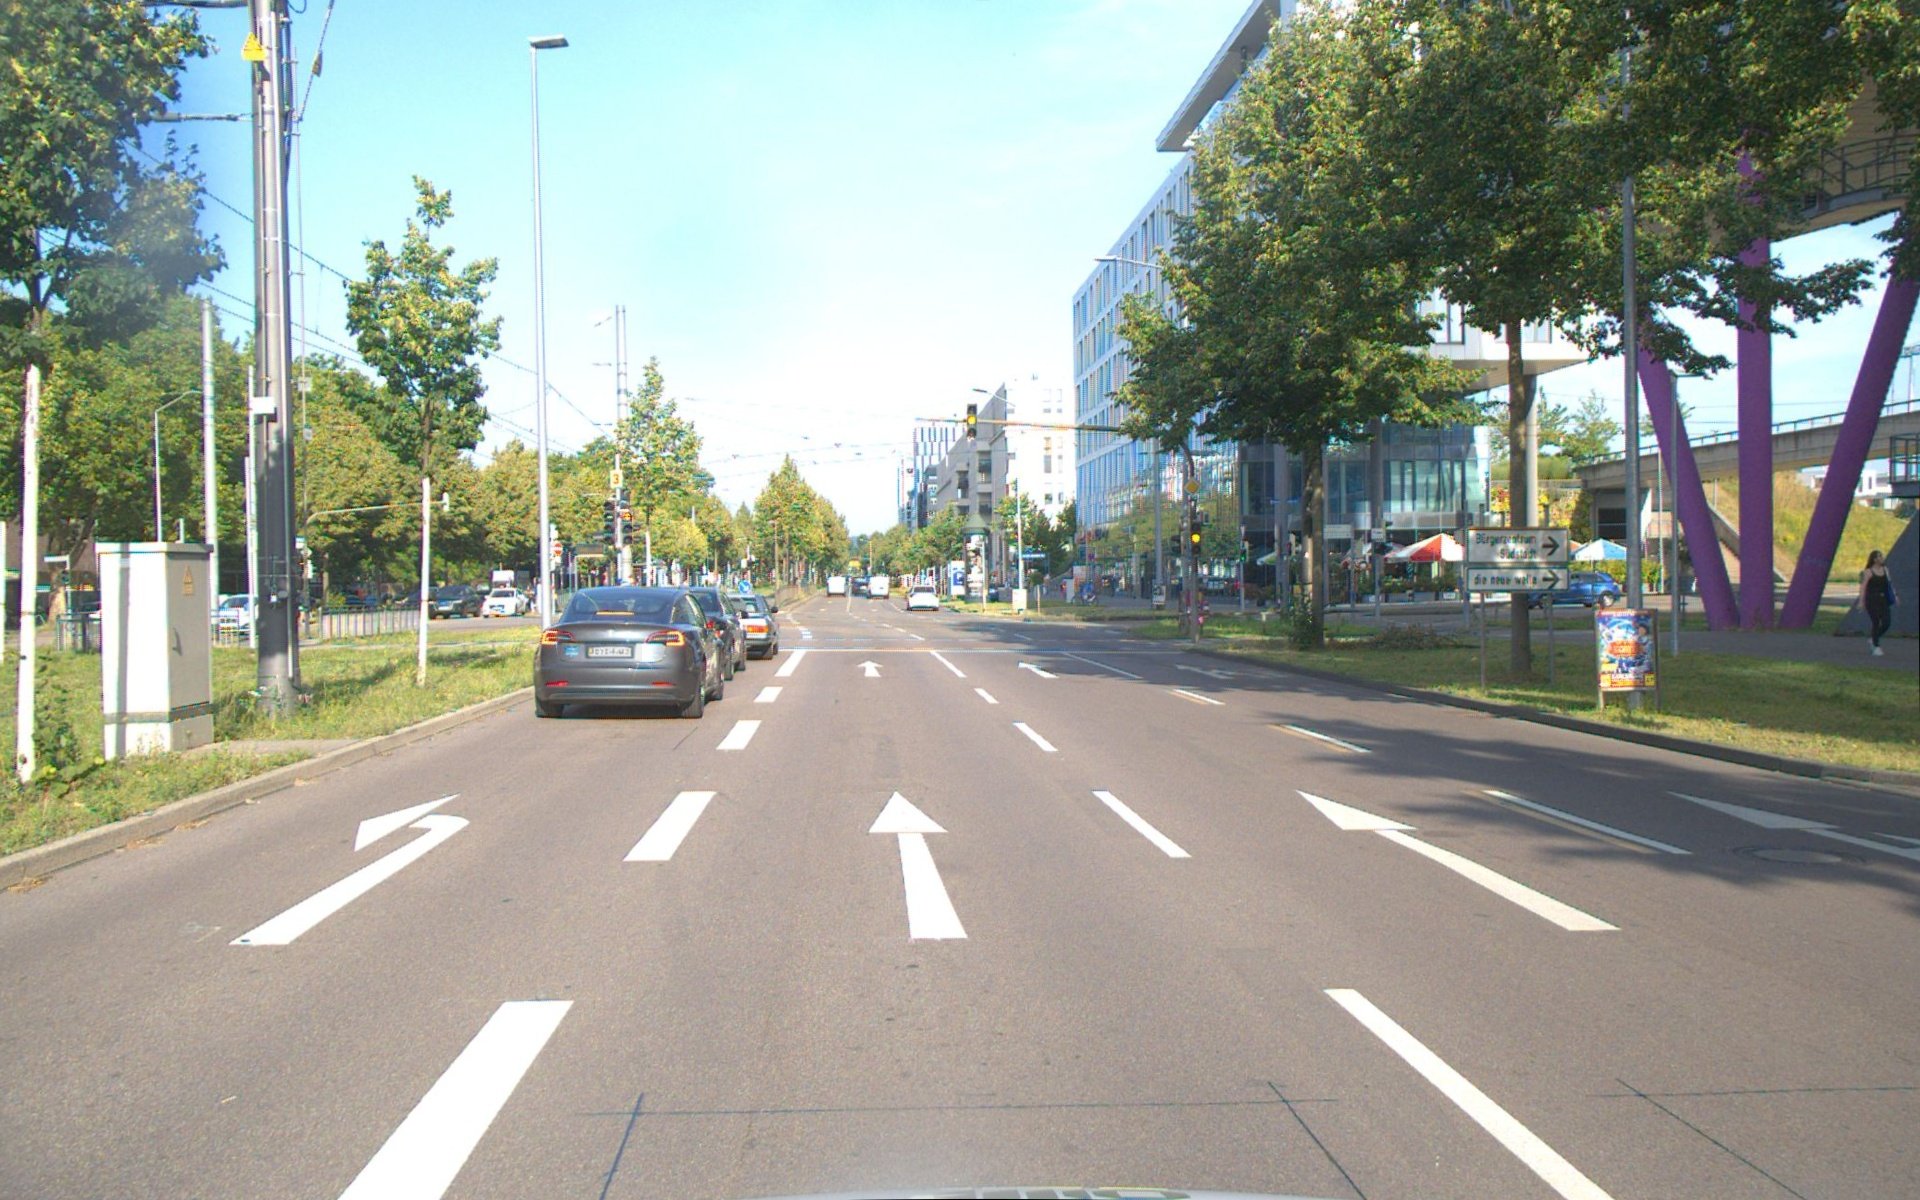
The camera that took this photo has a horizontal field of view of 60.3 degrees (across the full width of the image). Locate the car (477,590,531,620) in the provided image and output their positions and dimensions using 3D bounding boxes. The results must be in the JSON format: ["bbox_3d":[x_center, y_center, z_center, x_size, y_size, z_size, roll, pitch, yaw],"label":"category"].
[{"bbox_3d":[-23.977,0.246,87.065,1.954,1.530,4.090,-1,0,-4],"label":"car"}]

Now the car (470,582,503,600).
[{"bbox_3d":[-43.817,-0.859,153.089,1.842,1.586,4.001,-1,1,1],"label":"car"}]

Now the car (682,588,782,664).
[{"bbox_3d":[-4.511,0.472,33.192,1.729,1.353,4.396,1,1,-5],"label":"car"}]

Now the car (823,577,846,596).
[{"bbox_3d":[-11.514,-1.261,152.312,1.975,1.713,3.998,1,1,-3],"label":"car"}]

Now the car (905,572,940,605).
[{"bbox_3d":[-2.108,-0.658,92.166,1.827,1.713,3.998,1,1,-3],"label":"car"}]

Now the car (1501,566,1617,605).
[{"bbox_3d":[24.800,-0.625,68.525,4.102,1.448,1.857,-2,1,-5],"label":"car"}]

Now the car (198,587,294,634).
[{"bbox_3d":[-26.065,0.350,60.537,1.955,1.554,4.307,-1,1,-5],"label":"car"}]

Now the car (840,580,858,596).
[{"bbox_3d":[-12.113,-1.333,180.540,1.886,1.713,3.996,1,1,-5],"label":"car"}]

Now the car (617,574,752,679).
[{"bbox_3d":[-4.366,0.359,26.727,1.751,1.504,4.350,1,1,-5],"label":"car"}]

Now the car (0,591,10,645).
[{"bbox_3d":[-28.337,0.569,45.639,1.868,1.554,4.439,-1,1,-4],"label":"car"}]

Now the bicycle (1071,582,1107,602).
[{"bbox_3d":[6.870,-0.421,88.202,1.846,1.050,0.769,0,1,43],"label":"bicycle"}]

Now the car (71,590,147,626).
[{"bbox_3d":[-44.768,0.390,87.121,1.842,1.780,4.001,-1,1,1],"label":"car"}]

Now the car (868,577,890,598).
[{"bbox_3d":[-6.944,-1.072,141.285,1.827,1.713,3.998,1,1,-3],"label":"car"}]

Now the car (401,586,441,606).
[{"bbox_3d":[-44.158,-0.319,135.477,1.842,1.586,4.001,-1,1,1],"label":"car"}]

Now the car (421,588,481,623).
[{"bbox_3d":[-27.422,0.267,89.239,1.954,1.714,4.991,-1,1,-4],"label":"car"}]

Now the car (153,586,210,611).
[{"bbox_3d":[-52.736,-0.125,112.162,1.842,1.586,4.001,-1,1,1],"label":"car"}]

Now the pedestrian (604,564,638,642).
[{"bbox_3d":[-7.978,0.066,38.943,0.685,1.823,0.635,0,1,-4],"label":"pedestrian"}]

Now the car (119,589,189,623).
[{"bbox_3d":[-44.728,0.289,91.891,1.842,1.780,4.001,-1,1,1],"label":"car"}]

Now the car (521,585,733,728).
[{"bbox_3d":[-3.764,0.574,19.412,1.852,1.410,4.332,1,1,-4],"label":"car"}]

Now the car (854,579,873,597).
[{"bbox_3d":[-9.709,-1.200,166.438,1.886,1.713,3.998,1,1,-3],"label":"car"}]

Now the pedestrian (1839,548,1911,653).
[{"bbox_3d":[14.981,-0.002,27.087,0.680,1.667,0.736,-3,1,-5],"label":"pedestrian"}]
